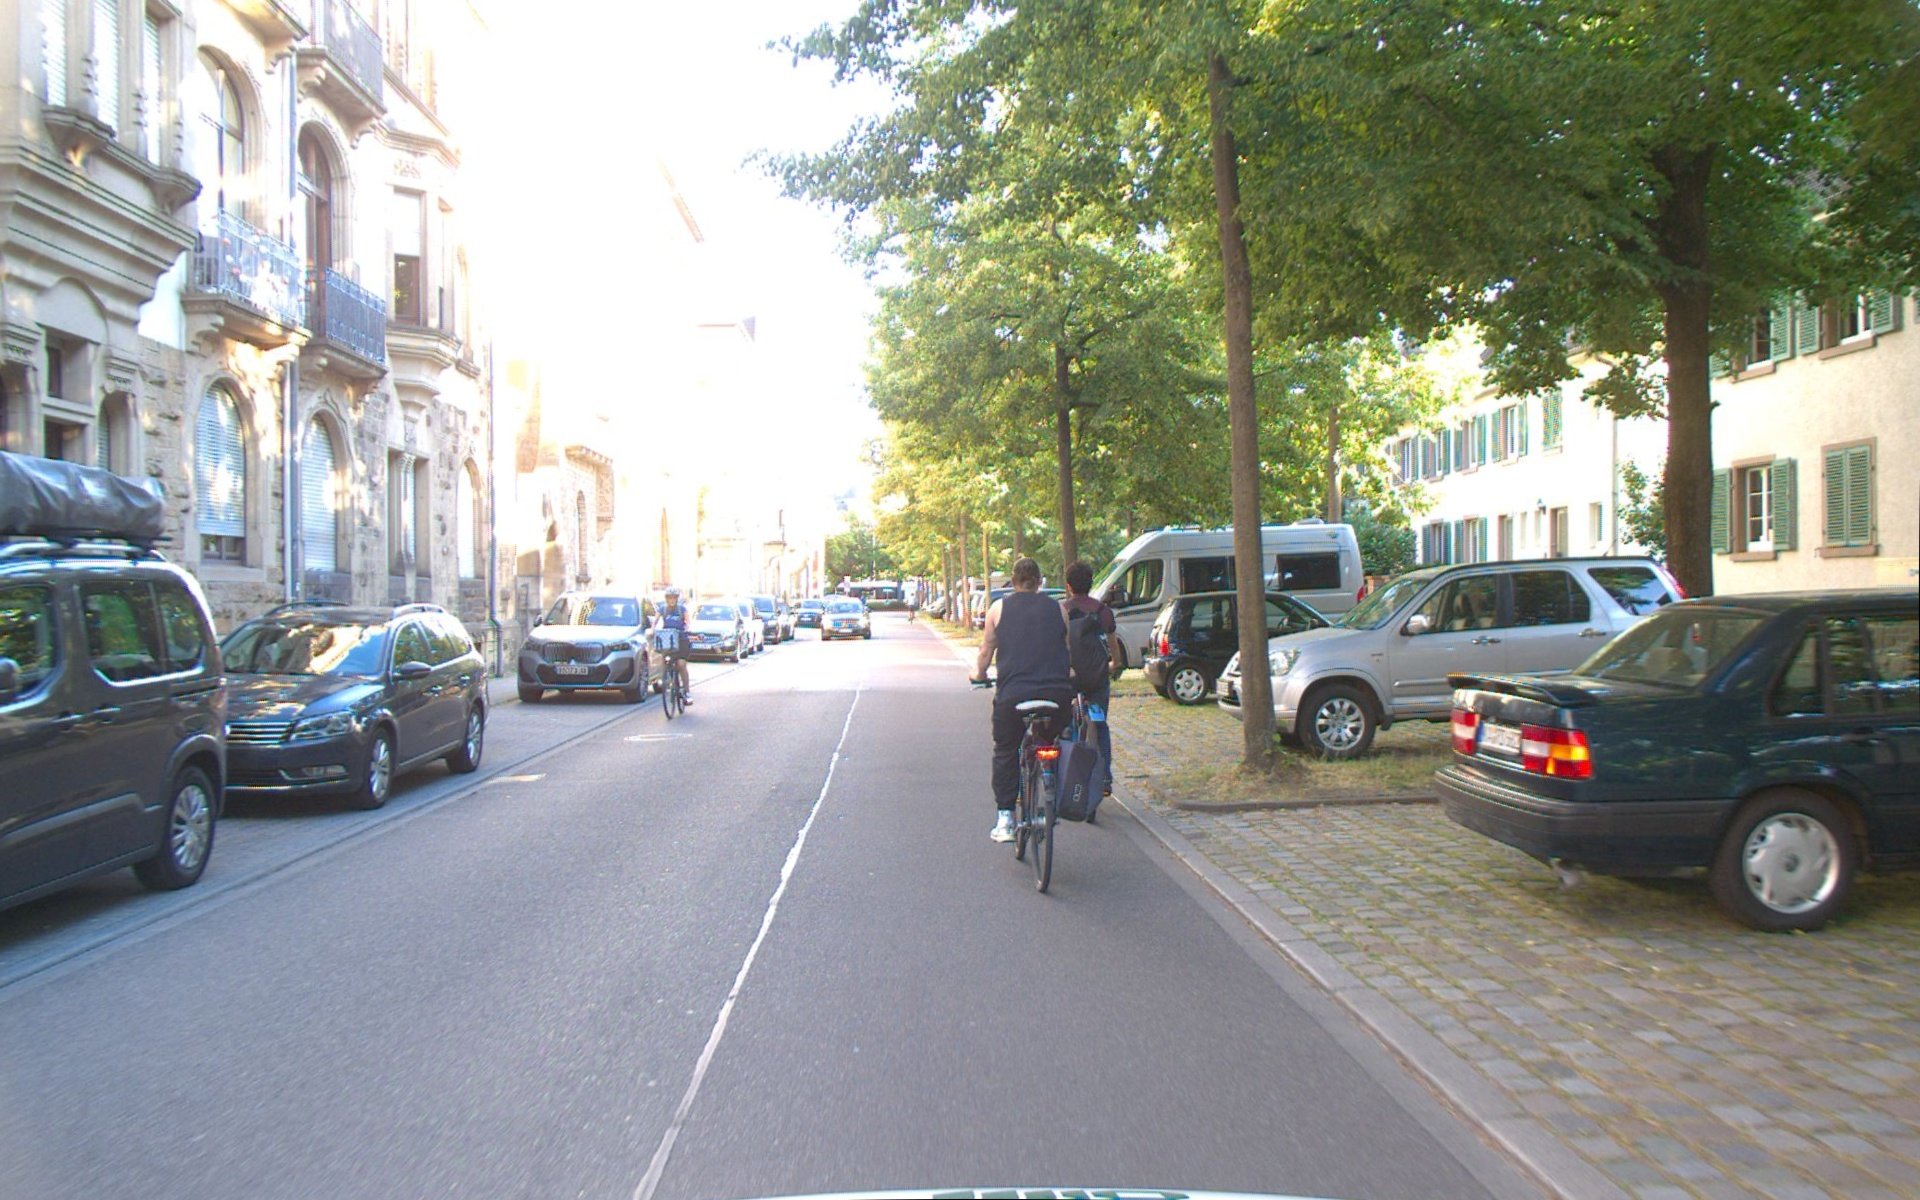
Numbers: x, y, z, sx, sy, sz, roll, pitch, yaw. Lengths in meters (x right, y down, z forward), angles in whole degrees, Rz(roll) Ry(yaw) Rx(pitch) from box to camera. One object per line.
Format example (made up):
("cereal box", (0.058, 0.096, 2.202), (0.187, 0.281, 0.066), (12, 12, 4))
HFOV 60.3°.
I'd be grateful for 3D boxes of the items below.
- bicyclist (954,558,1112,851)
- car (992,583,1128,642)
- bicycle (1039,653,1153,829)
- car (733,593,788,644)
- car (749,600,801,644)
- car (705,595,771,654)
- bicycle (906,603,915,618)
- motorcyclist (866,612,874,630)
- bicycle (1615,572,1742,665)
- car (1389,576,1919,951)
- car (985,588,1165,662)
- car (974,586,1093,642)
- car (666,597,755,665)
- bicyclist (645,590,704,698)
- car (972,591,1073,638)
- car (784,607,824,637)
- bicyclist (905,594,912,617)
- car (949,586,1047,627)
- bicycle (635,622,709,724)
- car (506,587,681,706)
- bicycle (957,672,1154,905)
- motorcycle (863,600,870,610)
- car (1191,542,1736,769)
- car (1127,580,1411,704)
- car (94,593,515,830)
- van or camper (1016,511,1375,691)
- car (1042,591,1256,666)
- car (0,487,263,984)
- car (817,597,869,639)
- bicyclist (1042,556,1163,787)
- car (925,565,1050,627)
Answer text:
("bicyclist", (0.393, 0.563, 9.354), (0.693, 1.553, 0.970), (-1, -1, -9))
("car", (3.155, 0.407, 52.796), (4.157, 1.676, 1.854), (-2, -1, -1))
("bicycle", (0.946, 0.961, 11.899), (0.544, 1.091, 1.967), (-1, 0, -3))
("car", (-6.851, 0.654, 57.047), (1.598, 1.694, 3.965), (-1, -1, -3))
("car", (-6.957, 0.834, 62.514), (1.583, 1.508, 4.016), (3, -1, -2))
("car", (-6.340, 0.684, 47.469), (1.461, 1.544, 3.773), (3, -1, -2))
("bicycle", (-2.954, 0.629, 98.129), (0.530, 0.842, 1.918), (-1, -1, -2))
("motorcyclist", (-7.254, 1.693, 133.464), (0.540, 1.474, 0.687), (-1, 0, -5))
("bicycle", (11.499, 0.290, 26.546), (0.786, 1.424, 1.996), (-1, 0, -15))
("car", (4.766, 0.610, 7.995), (4.798, 1.467, 1.940), (-3, -1, -4))
("car", (2.808, 0.611, 40.891), (4.161, 1.634, 1.751), (-2, -1, -6))
("car", (2.650, 0.514, 60.186), (4.157, 1.872, 1.854), (-2, -1, -1))
("car", (-6.259, 0.763, 41.880), (1.720, 1.544, 4.112), (3, -1, -2))
("bicyclist", (-3.798, 0.569, 22.050), (0.652, 1.368, 1.059), (-2, 1, -6))
("car", (2.635, 0.612, 70.657), (4.157, 1.828, 1.854), (-2, -1, -1))
("car", (-8.281, 1.164, 87.982), (1.954, 1.512, 3.997), (-1, -1, -3))
("bicyclist", (-3.039, 0.309, 98.167), (0.408, 1.374, 0.430), (-1, -1, -2))
("car", (1.842, 0.325, 80.790), (4.661, 1.811, 1.854), (-2, -1, -1))
("bicycle", (-3.821, 0.936, 22.113), (0.738, 1.199, 2.617), (-2, 1, -6))
("car", (-5.557, 0.695, 25.610), (2.009, 1.650, 4.391), (-1, -1, -4))
("bicycle", (0.478, 0.977, 9.199), (0.683, 1.091, 1.964), (-1, -1, -9))
("motorcycle", (-7.489, 0.379, 132.715), (0.540, 0.815, 1.307), (-1, 0, -5))
("car", (4.549, 0.457, 15.381), (4.388, 1.698, 1.941), (-4, 1, -4))
("car", (4.137, 0.559, 22.498), (3.431, 1.498, 1.750), (-2, -1, -3))
("car", (-5.152, 0.808, 13.755), (1.694, 1.602, 4.707), (-1, -1, -1))
("van or camper", (3.825, 0.021, 27.608), (5.465, 2.581, 2.266), (-3, -1, -4))
("car", (4.067, 0.616, 36.041), (4.411, 1.478, 1.815), (-1, -1, -1))
("car", (-4.894, 0.538, 7.375), (1.930, 2.009, 4.494), (0, 0, -4))
("car", (-4.471, 0.714, 62.729), (1.860, 1.512, 4.376), (-1, -1, -5))
("bicyclist", (0.988, 0.488, 11.696), (0.704, 1.553, 0.971), (-1, -1, -3))
("car", (1.599, -0.219, 97.504), (7.184, 3.339, 2.222), (-2, -1, -1))
